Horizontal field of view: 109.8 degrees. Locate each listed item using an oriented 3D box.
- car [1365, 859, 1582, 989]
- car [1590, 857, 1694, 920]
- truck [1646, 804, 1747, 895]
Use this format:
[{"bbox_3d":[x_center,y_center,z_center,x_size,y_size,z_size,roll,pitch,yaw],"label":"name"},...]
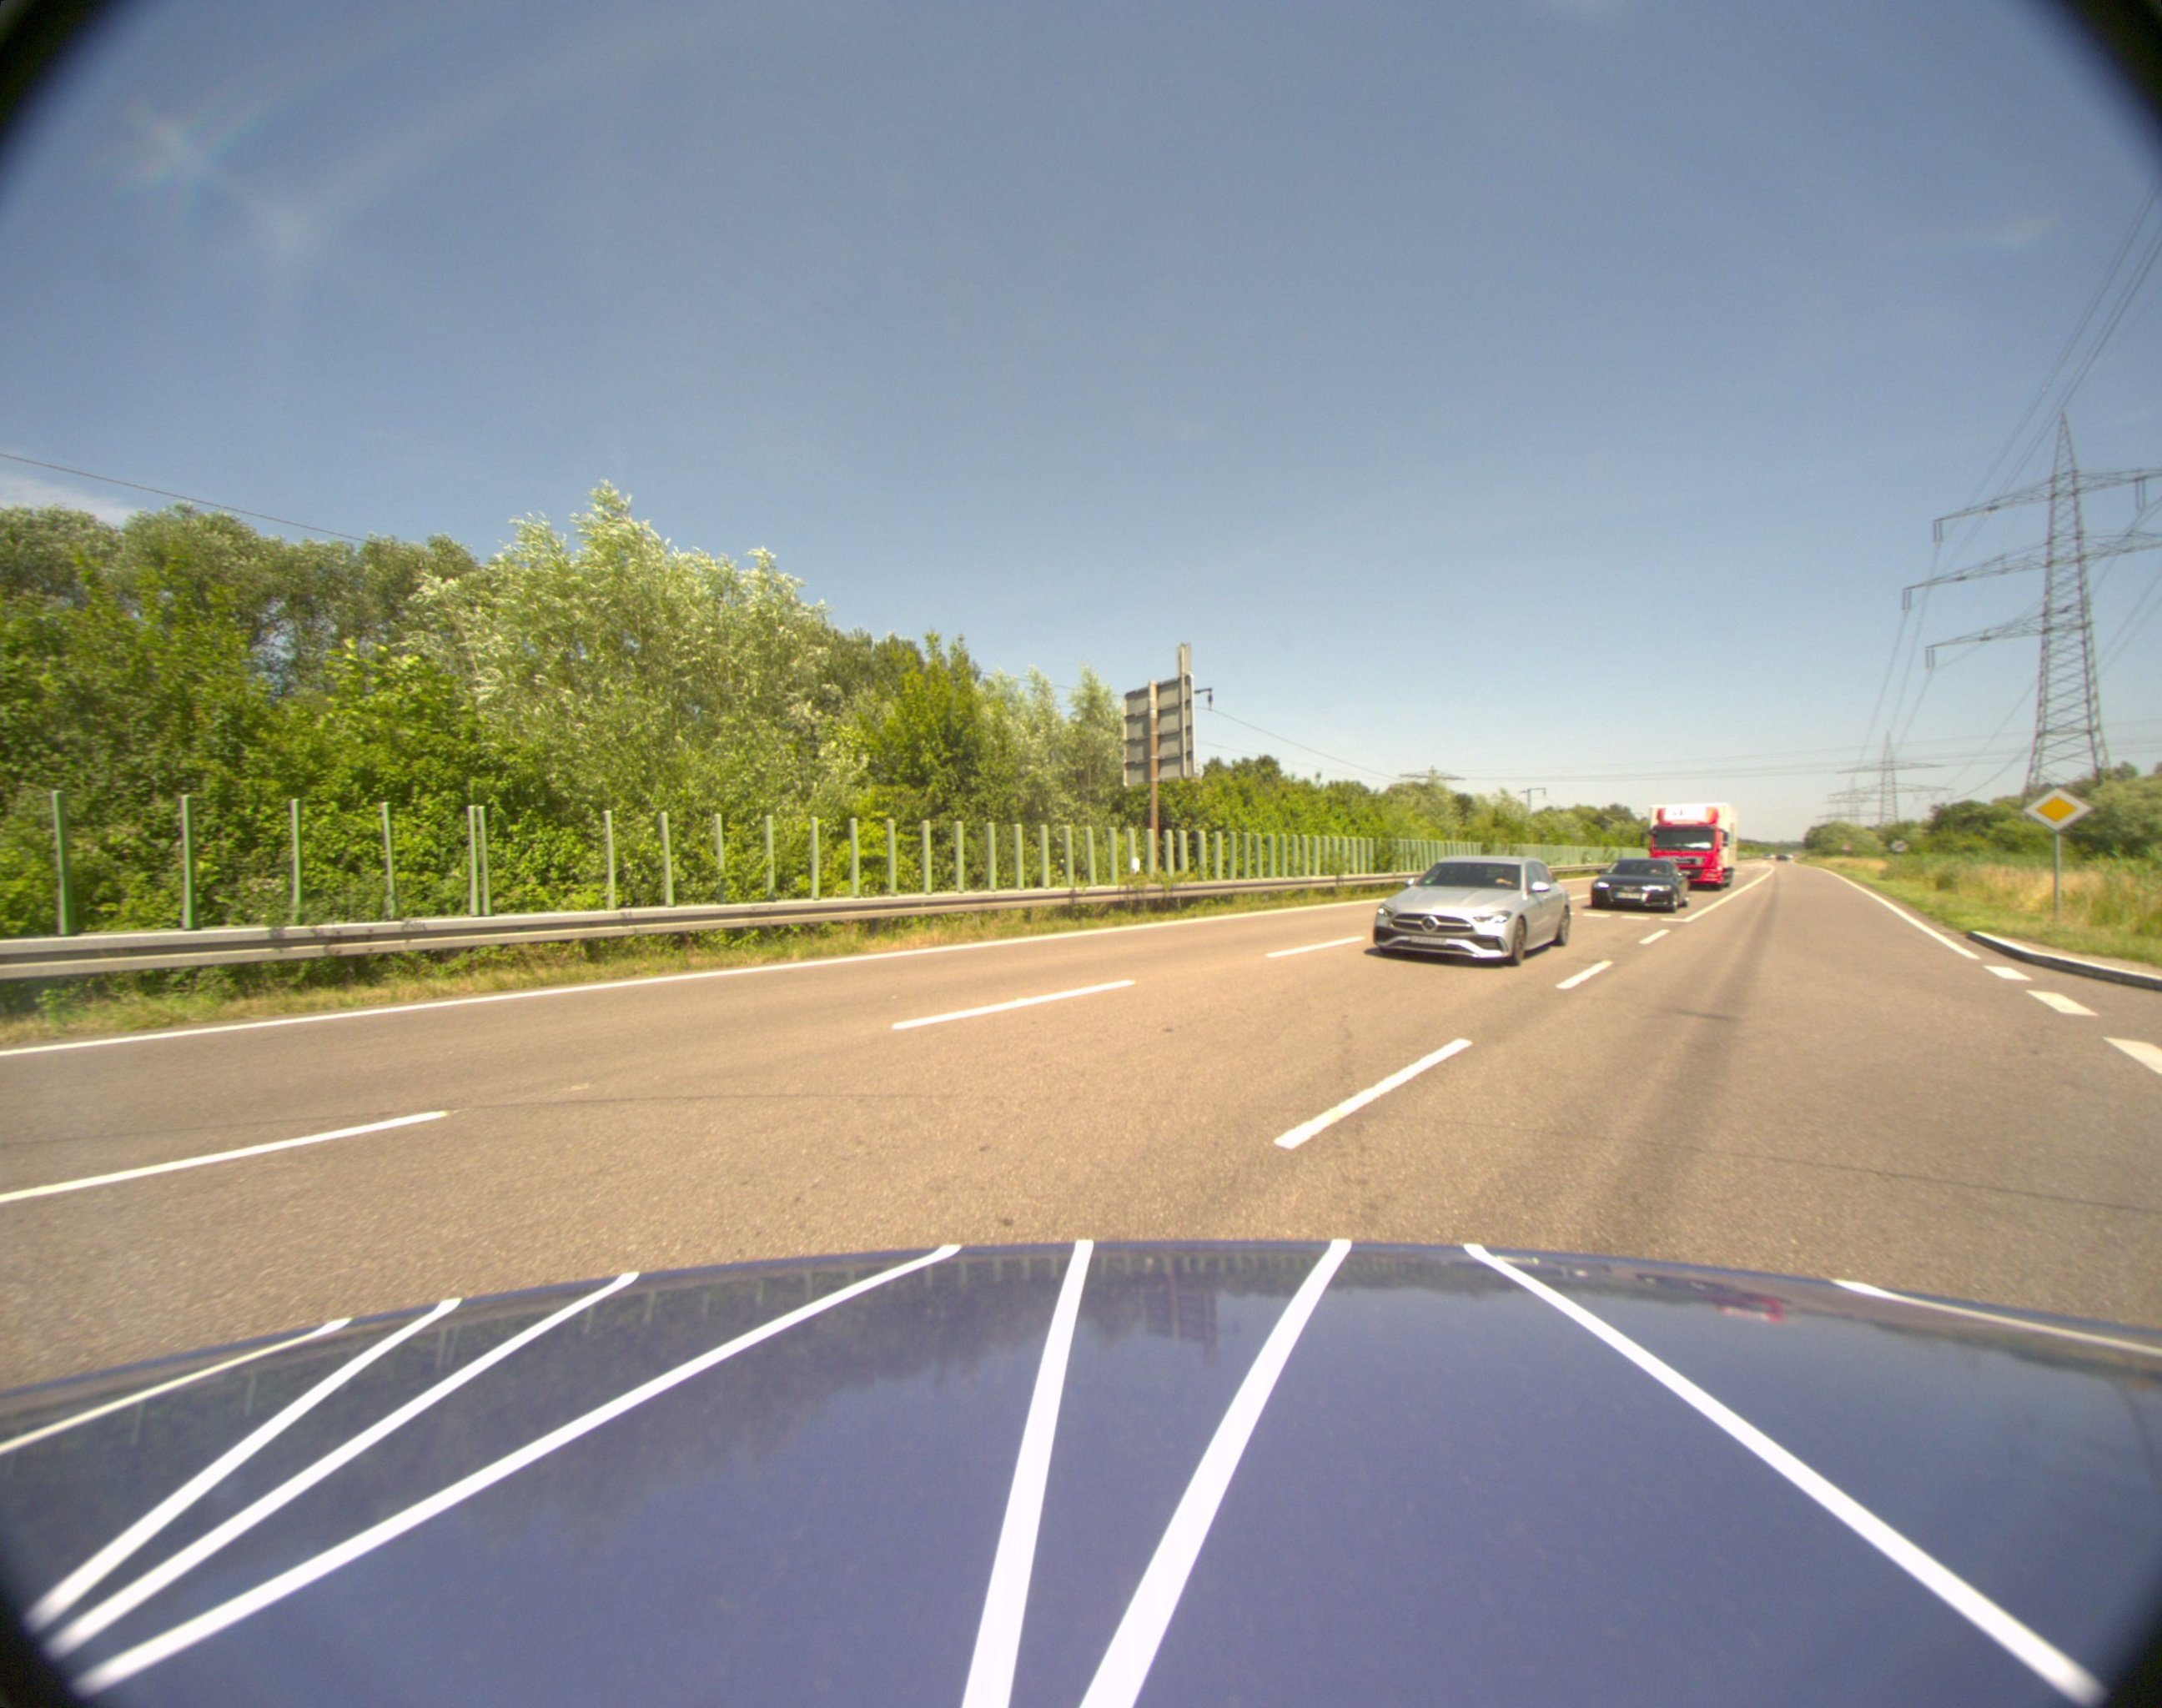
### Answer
[{"bbox_3d":[5.964,0.857,11.299,1.820,1.478,4.157,2,2,42],"label":"car"},{"bbox_3d":[15.243,0.842,20.559,1.820,1.431,4.157,2,2,42],"label":"car"},{"bbox_3d":[27.551,-0.309,33.793,2.718,3.559,9.573,-1,1,43],"label":"truck"}]
